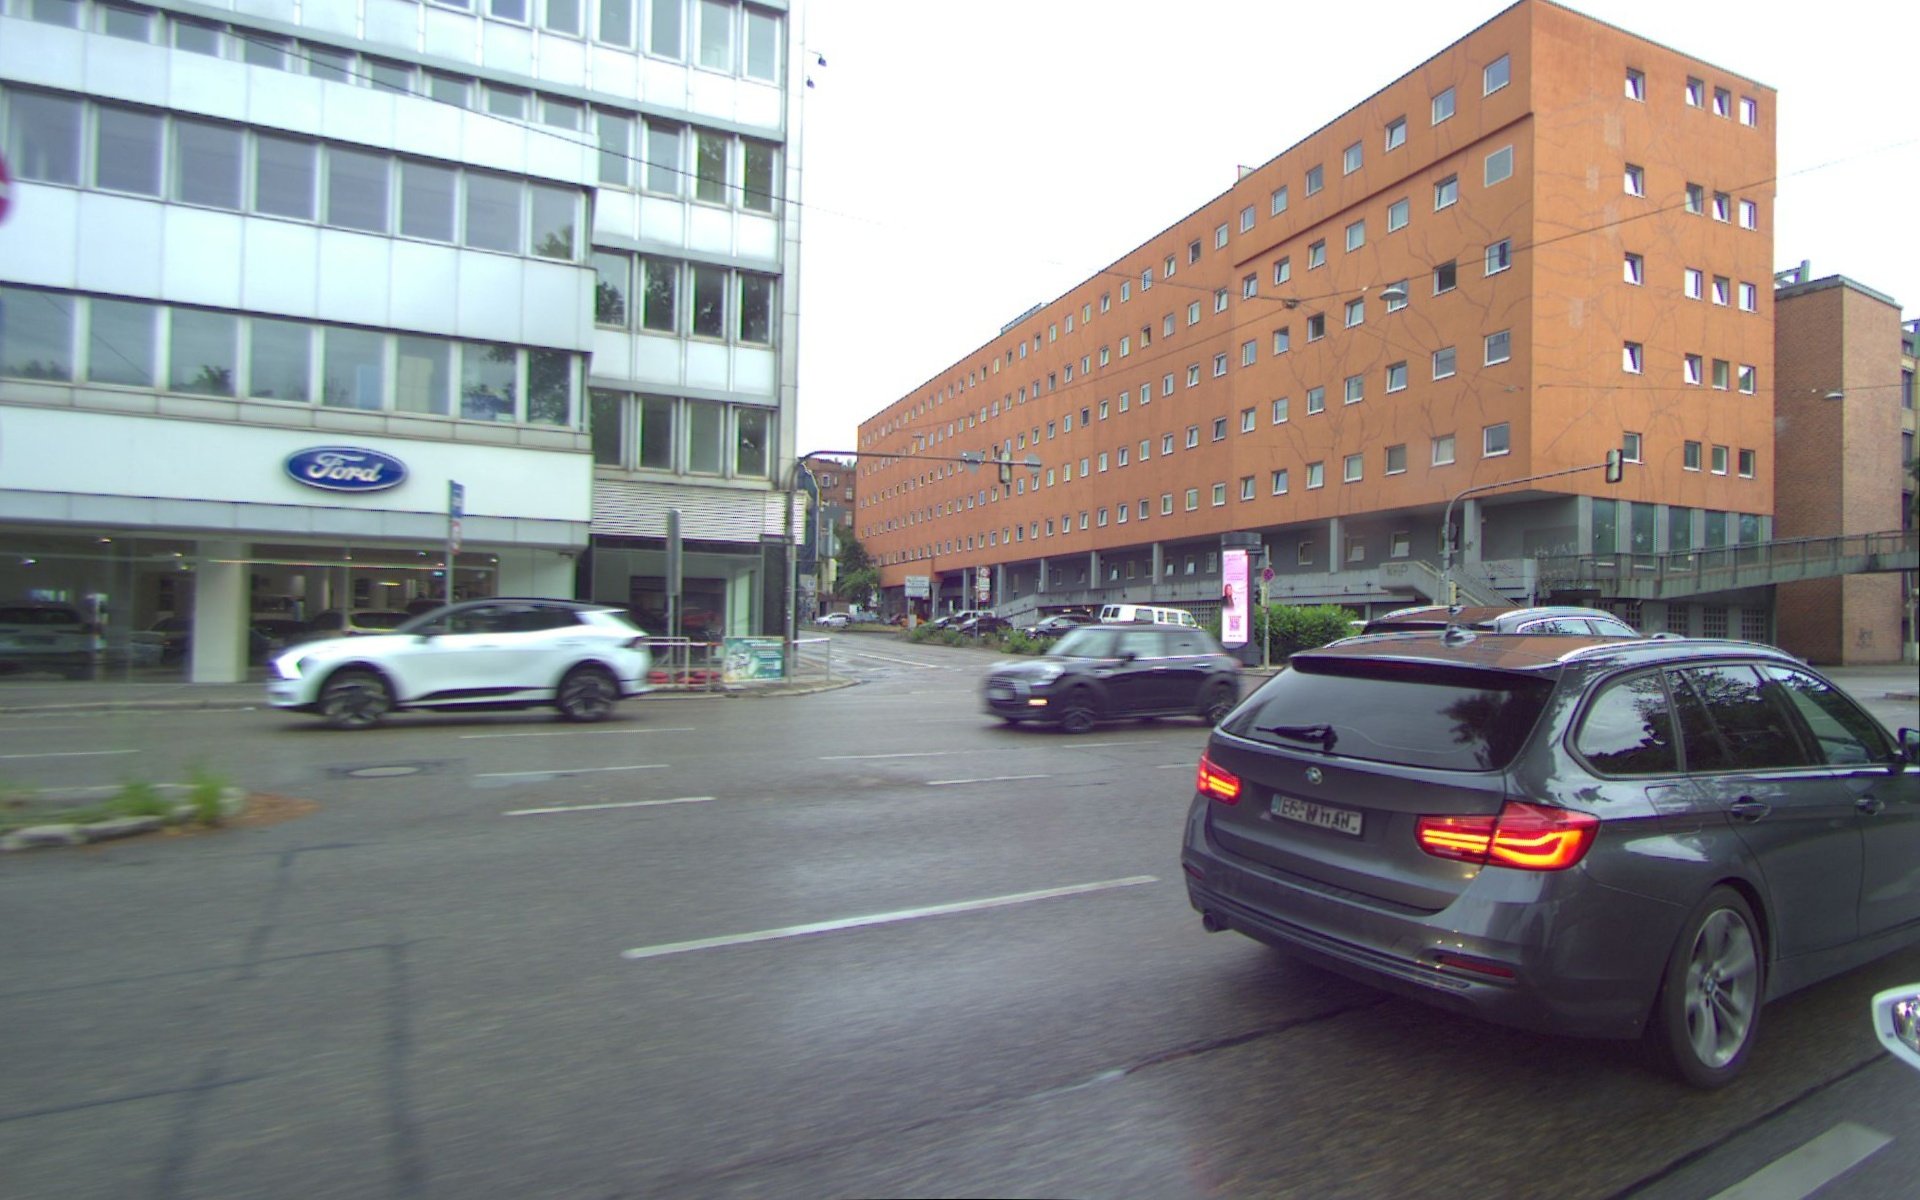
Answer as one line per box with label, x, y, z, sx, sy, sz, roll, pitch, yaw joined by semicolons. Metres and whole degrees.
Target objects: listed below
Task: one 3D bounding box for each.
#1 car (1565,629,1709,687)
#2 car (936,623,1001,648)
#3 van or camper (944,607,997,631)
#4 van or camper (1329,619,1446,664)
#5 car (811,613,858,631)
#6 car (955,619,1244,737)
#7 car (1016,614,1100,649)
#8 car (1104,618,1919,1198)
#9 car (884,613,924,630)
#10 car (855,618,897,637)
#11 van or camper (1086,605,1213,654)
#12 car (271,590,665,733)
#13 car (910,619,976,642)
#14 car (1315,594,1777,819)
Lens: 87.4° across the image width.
car;18.775;1.587;27.836;3.992;1.484;1.702;2;-1;-29
car;0.502;2.041;58.060;3.460;1.311;1.531;2;-1;-13
van or camper;0.921;1.717;90.433;4.315;2.004;1.962;2;1;-24
van or camper;16.618;1.584;39.236;1.888;1.649;3.975;1;-1;-25
car;-11.390;1.997;91.069;3.921;1.459;1.767;2;1;-23
car;1.996;1.033;14.109;3.817;1.455;1.675;2;-2;-30
car;5.086;1.631;52.100;4.030;1.633;1.705;2;1;-24
car;2.940;0.860;4.467;4.425;1.477;1.768;2;-1;-30
car;-5.909;2.267;106.435;3.840;1.643;1.767;2;1;-22
car;-6.735;2.188;80.425;3.123;1.372;1.396;2;1;-18
van or camper;8.594;1.335;45.500;5.379;2.004;2.119;2;1;-25
car;-6.385;0.795;13.405;4.403;1.631;1.882;2;-3;-29
car;-1.065;1.883;62.416;3.816;1.311;1.656;2;-1;-13
car;5.648;0.878;9.567;4.392;1.678;1.801;2;1;-30
